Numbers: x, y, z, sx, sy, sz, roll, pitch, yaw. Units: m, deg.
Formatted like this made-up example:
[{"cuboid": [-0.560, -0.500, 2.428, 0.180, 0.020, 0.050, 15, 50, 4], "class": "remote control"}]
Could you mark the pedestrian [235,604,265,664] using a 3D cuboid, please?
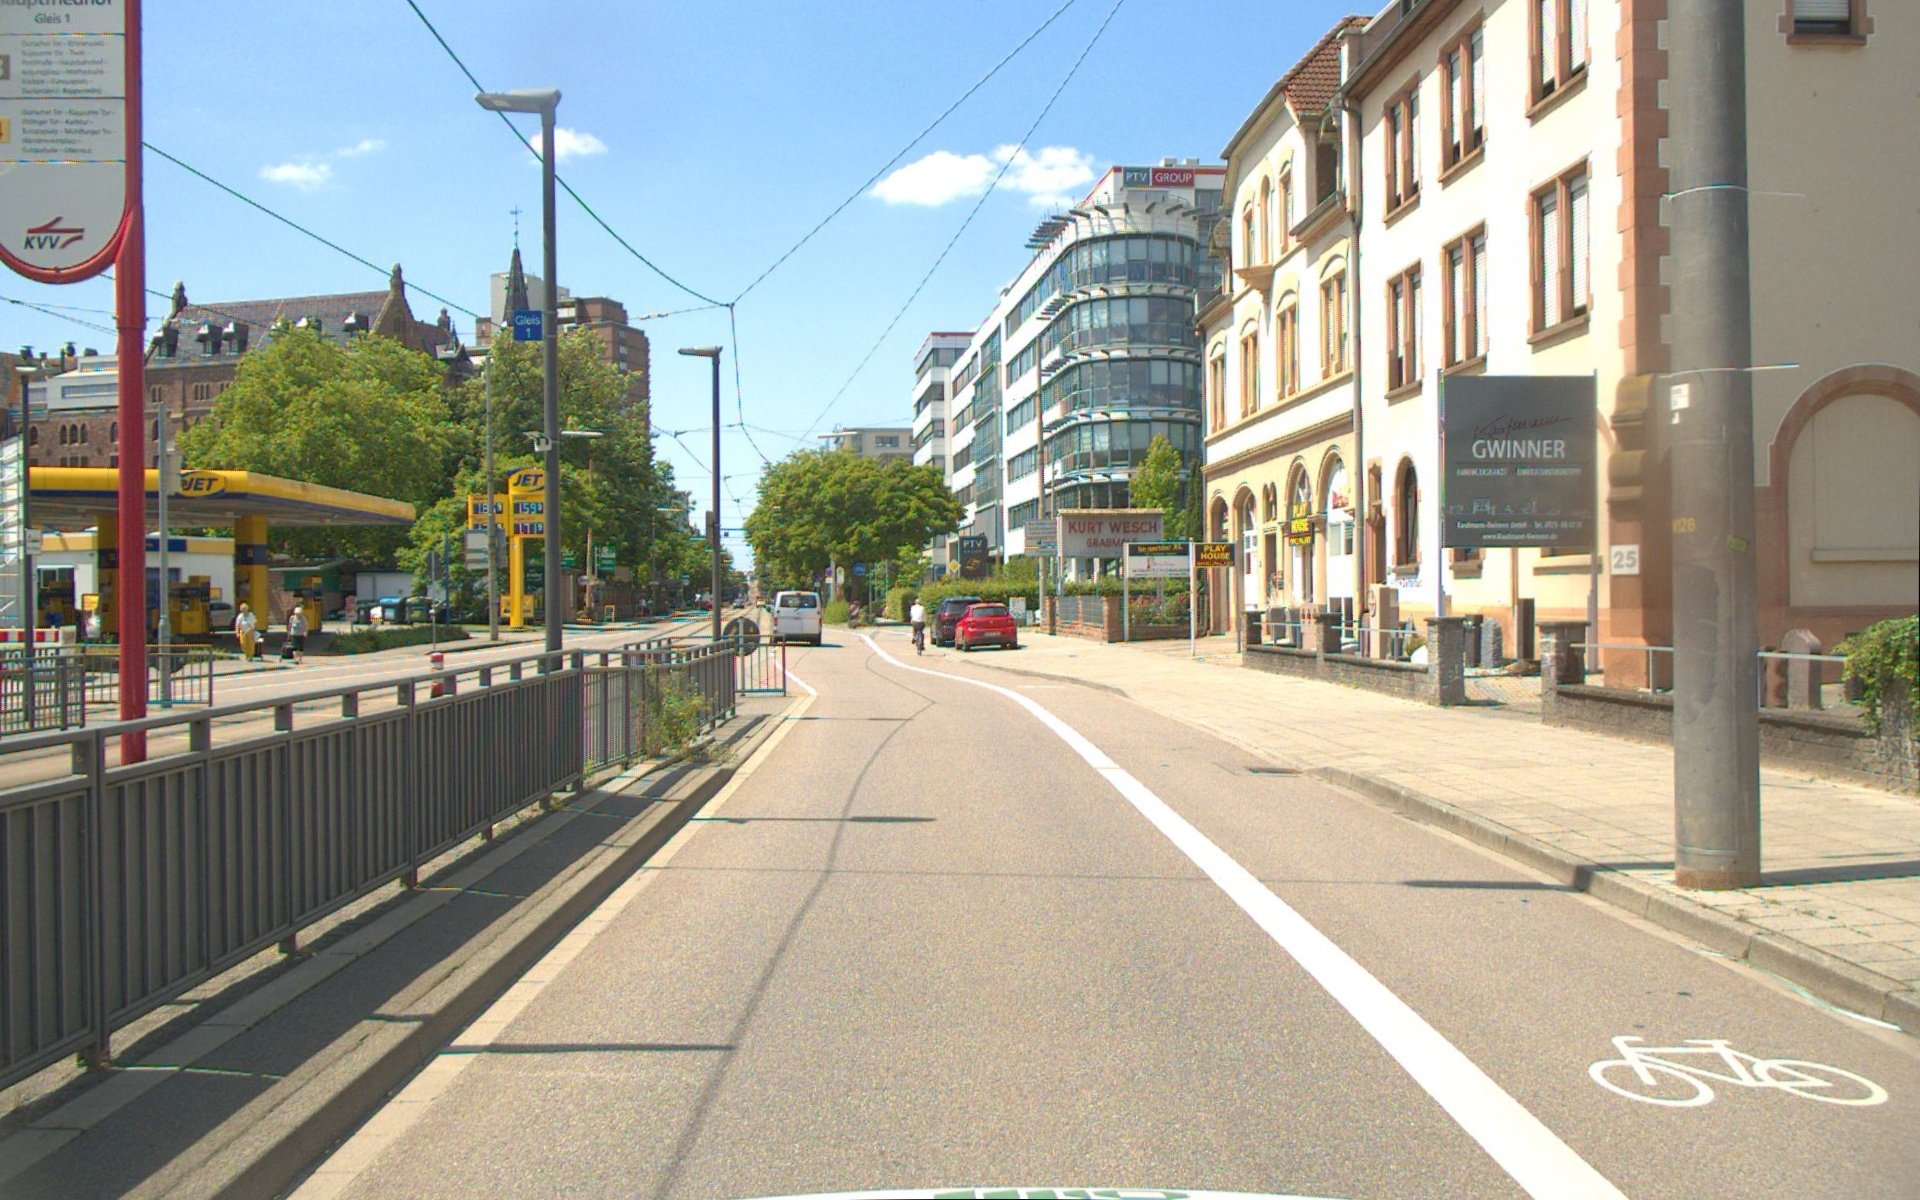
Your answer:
[{"cuboid": [-20.274, 0.964, 47.218, 0.541, 1.687, 0.672, 0, 0, 0], "class": "pedestrian"}]

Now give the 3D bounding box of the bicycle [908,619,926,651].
[{"cuboid": [-1.279, 1.030, 49.301, 0.456, 0.903, 2.047, 0, 0, -3], "class": "bicycle"}]

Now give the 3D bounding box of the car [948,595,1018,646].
[{"cuboid": [0.697, 0.611, 52.749, 1.679, 1.478, 4.066, -3, 1, -7], "class": "car"}]

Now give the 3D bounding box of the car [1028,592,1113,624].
[{"cuboid": [5.134, 0.363, 77.043, 3.726, 1.297, 1.553, -2, 1, -7], "class": "car"}]

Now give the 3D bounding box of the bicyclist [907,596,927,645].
[{"cuboid": [-1.284, 0.605, 49.256, 0.579, 1.421, 0.841, 0, 0, -3], "class": "bicyclist"}]

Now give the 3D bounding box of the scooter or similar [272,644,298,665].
[{"cuboid": [-19.367, 1.558, 47.453, 0.466, 0.591, 0.631, 0, 0, 4], "class": "scooter or similar"}]

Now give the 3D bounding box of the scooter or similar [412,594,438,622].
[{"cuboid": [-29.707, 0.445, 91.843, 1.149, 1.492, 1.058, -1, -1, -2], "class": "scooter or similar"}]

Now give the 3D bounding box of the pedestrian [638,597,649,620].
[{"cuboid": [-28.230, 0.758, 147.587, 0.848, 2.049, 0.645, -2, -1, -10], "class": "pedestrian"}]

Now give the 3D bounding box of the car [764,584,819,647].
[{"cuboid": [-5.915, 0.505, 57.803, 1.719, 2.048, 3.993, -2, 1, -8], "class": "car"}]

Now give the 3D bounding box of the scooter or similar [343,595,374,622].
[{"cuboid": [-33.660, 0.472, 92.519, 1.286, 1.492, 1.060, -1, 0, 5], "class": "scooter or similar"}]

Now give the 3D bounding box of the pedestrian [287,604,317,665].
[{"cuboid": [-18.745, 0.977, 47.091, 0.568, 1.700, 0.667, 0, 0, 1], "class": "pedestrian"}]

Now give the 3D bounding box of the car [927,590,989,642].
[{"cuboid": [-0.108, 0.541, 59.037, 1.826, 1.716, 4.996, -2, 1, -4], "class": "car"}]

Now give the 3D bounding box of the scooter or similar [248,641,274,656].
[{"cuboid": [-20.252, 1.406, 47.934, 0.463, 0.401, 0.672, 0, 0, 0], "class": "scooter or similar"}]

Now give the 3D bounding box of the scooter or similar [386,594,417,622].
[{"cuboid": [-31.093, 0.440, 92.112, 1.286, 1.492, 1.059, -1, -1, 4], "class": "scooter or similar"}]

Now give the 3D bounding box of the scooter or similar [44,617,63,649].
[{"cuboid": [-27.887, 1.014, 50.890, 0.397, 0.946, 0.327, 0, 0, -5], "class": "scooter or similar"}]
